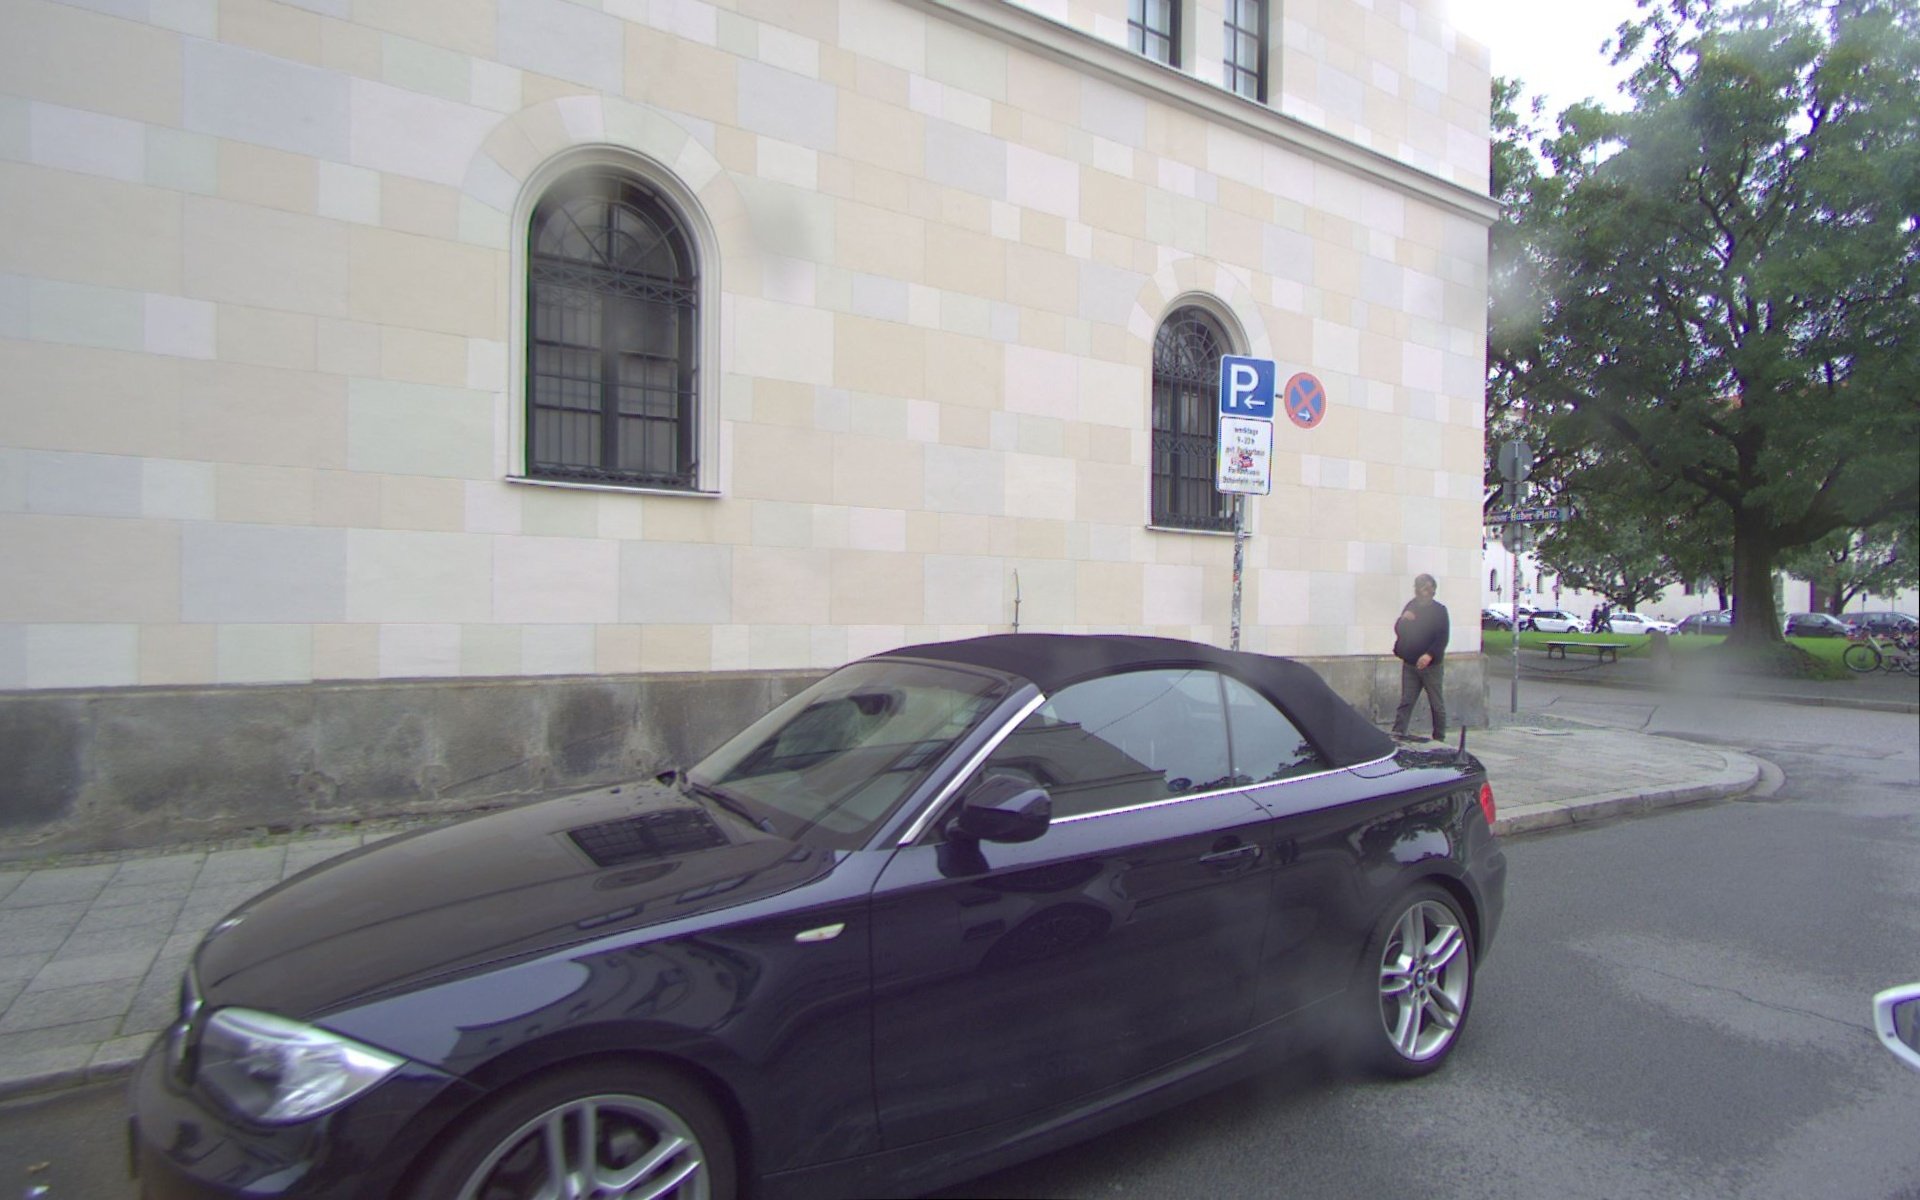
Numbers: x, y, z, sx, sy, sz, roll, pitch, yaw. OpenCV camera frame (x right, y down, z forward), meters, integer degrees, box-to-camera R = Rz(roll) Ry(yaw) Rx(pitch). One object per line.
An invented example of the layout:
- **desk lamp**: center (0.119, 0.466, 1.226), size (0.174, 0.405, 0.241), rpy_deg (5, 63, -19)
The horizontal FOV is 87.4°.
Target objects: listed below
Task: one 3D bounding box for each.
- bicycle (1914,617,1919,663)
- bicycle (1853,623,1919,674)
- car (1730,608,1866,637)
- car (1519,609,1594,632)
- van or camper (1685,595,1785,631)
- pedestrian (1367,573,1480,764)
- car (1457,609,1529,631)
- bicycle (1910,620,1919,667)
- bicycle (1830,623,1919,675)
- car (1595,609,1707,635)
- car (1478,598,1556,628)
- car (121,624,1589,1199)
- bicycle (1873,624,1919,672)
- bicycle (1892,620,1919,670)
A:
- **bicycle**: center (23.711, 0.977, 23.684), size (0.687, 1.113, 1.616), rpy_deg (0, 1, -20)
- **bicycle**: center (20.924, 1.062, 22.220), size (0.687, 1.049, 1.616), rpy_deg (0, 1, -20)
- **car**: center (43.047, 1.131, 51.730), size (1.978, 1.394, 5.044), rpy_deg (0, 0, -32)
- **car**: center (36.632, 1.235, 61.719), size (1.585, 1.394, 3.651), rpy_deg (0, 0, -33)
- **van or camper**: center (48.568, 0.834, 63.059), size (1.979, 2.040, 4.553), rpy_deg (2, -4, -34)
- **pedestrian**: center (4.525, 0.644, 9.823), size (0.682, 1.772, 0.750), rpy_deg (0, -1, -33)
- **car**: center (34.481, 1.285, 65.085), size (1.585, 1.394, 3.883), rpy_deg (0, 0, -33)
- **bicycle**: center (22.996, 1.028, 23.025), size (0.687, 1.113, 1.616), rpy_deg (0, 1, -20)
- **bicycle**: center (20.195, 1.046, 21.983), size (0.687, 1.049, 1.616), rpy_deg (0, 1, -20)
- **car**: center (39.377, 1.215, 57.356), size (1.978, 1.394, 4.940), rpy_deg (0, 0, -32)
- **car**: center (39.786, 0.922, 71.878), size (1.976, 2.040, 4.516), rpy_deg (0, 0, -30)
- **car**: center (0.102, 0.807, 3.304), size (4.165, 1.411, 1.690), rpy_deg (1, -2, -32)
- **bicycle**: center (21.631, 1.083, 22.484), size (0.687, 1.049, 1.616), rpy_deg (0, 1, -20)
- **bicycle**: center (22.318, 1.044, 22.770), size (0.687, 1.113, 1.616), rpy_deg (0, 1, -20)
